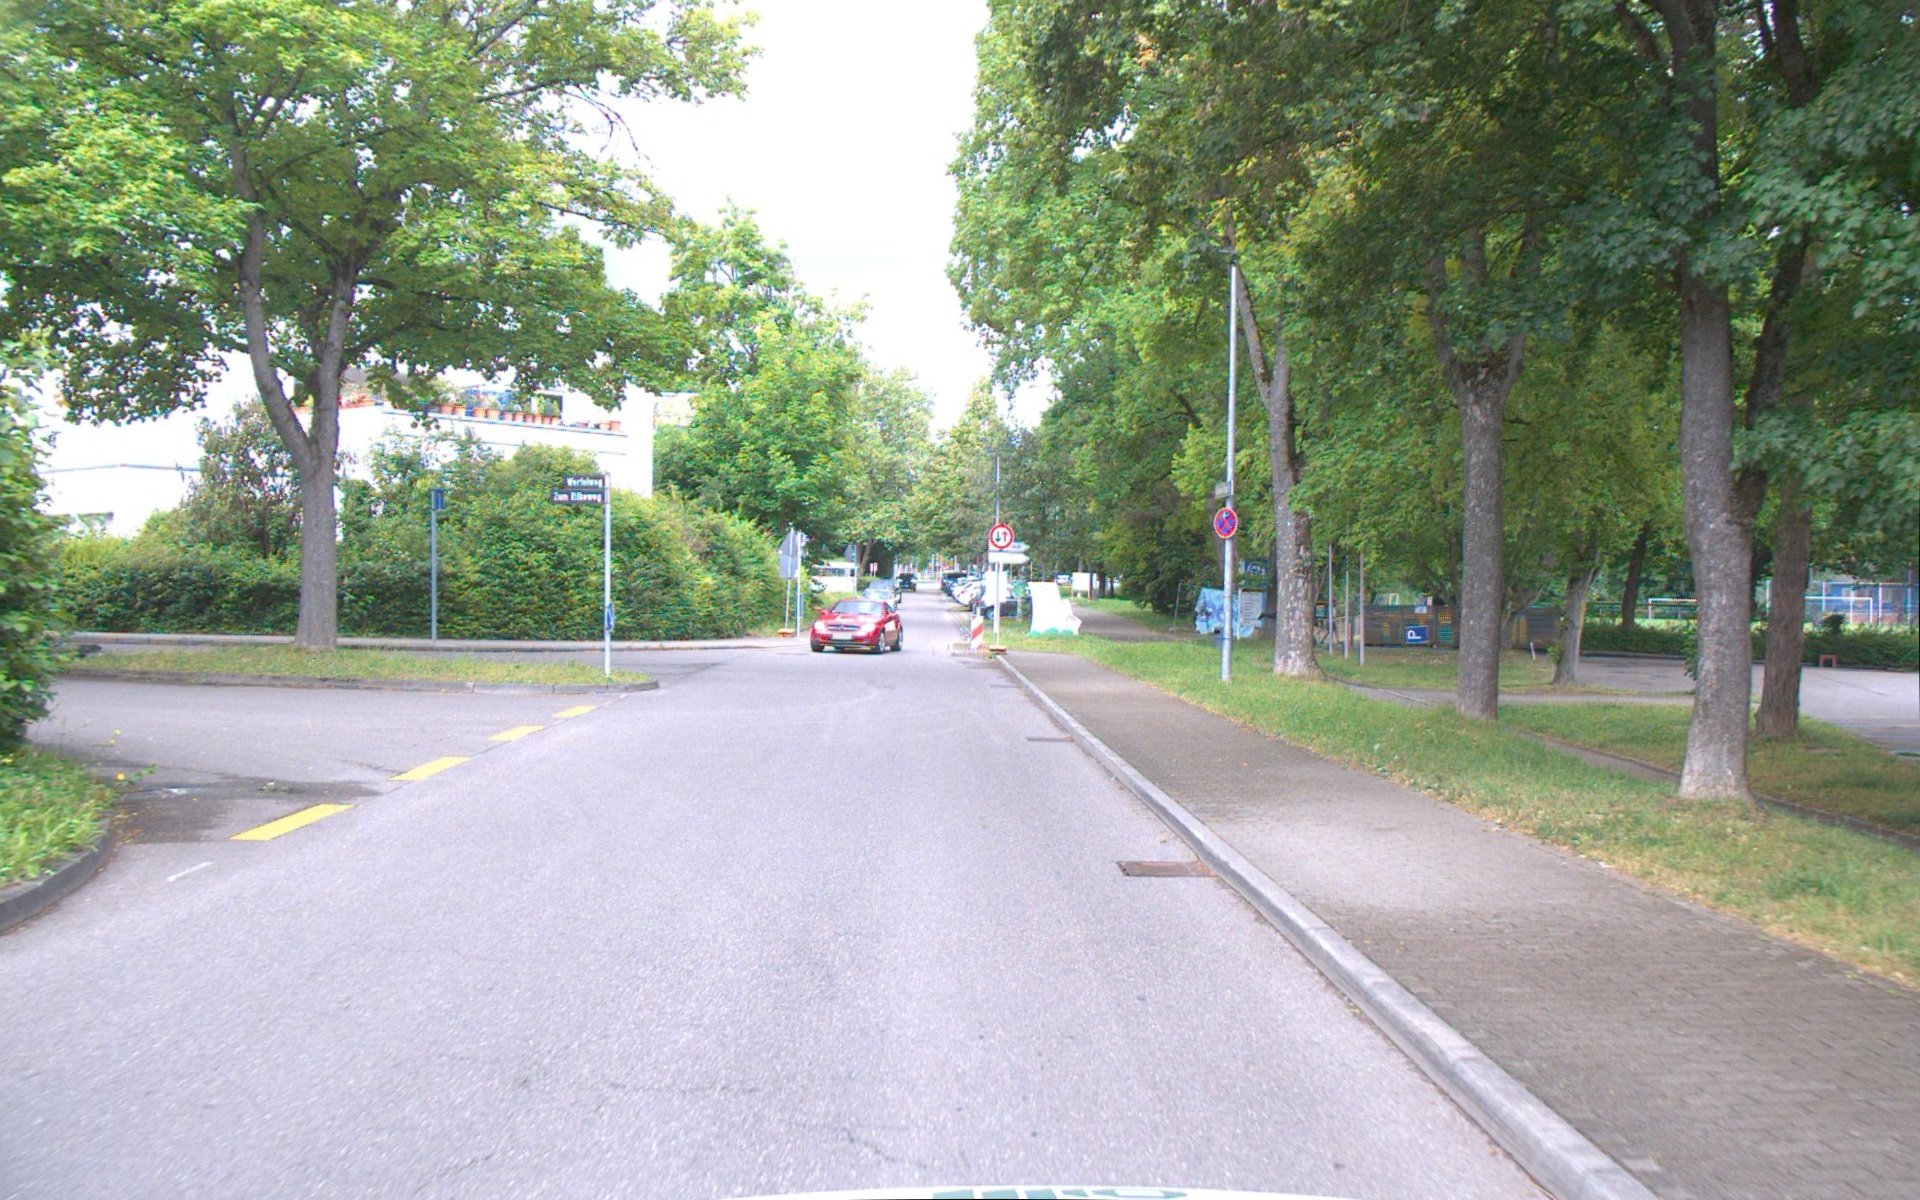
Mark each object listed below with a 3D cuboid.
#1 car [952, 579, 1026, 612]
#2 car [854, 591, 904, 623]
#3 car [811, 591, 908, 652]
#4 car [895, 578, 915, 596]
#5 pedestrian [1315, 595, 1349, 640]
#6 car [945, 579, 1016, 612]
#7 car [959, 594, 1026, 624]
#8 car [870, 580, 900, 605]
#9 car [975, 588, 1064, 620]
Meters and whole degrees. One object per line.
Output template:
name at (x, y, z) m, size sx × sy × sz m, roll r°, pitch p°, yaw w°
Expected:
car at (1.619, -0.254, 94.142) m, size 3.984 × 1.717 × 1.821 m, roll -2°, pitch 1°, yaw -5°
car at (-3.612, 0.293, 74.488) m, size 1.744 × 1.329 × 4.298 m, roll 2°, pitch 0°, yaw 3°
car at (-2.392, 0.489, 40.487) m, size 1.713 × 1.359 × 4.068 m, roll 2°, pitch 0°, yaw 6°
car at (-5.482, -1.308, 164.765) m, size 1.929 × 1.778 × 4.336 m, roll 2°, pitch 0°, yaw -2°
pedestrian at (14.178, 0.680, 62.967) m, size 1.124 × 1.704 × 0.793 m, roll -1°, pitch -1°, yaw 24°
car at (1.178, -0.277, 97.953) m, size 3.984 × 1.717 × 1.821 m, roll -2°, pitch 1°, yaw -5°
car at (1.998, 0.550, 103.373) m, size 3.984 × 1.717 × 1.821 m, roll -2°, pitch 1°, yaw -5°
car at (-5.144, -0.532, 113.210) m, size 1.768 × 1.619 × 4.291 m, roll 2°, pitch 0°, yaw -6°
car at (2.717, 0.200, 76.500) m, size 3.981 × 1.459 × 1.999 m, roll 0°, pitch -1°, yaw -2°
